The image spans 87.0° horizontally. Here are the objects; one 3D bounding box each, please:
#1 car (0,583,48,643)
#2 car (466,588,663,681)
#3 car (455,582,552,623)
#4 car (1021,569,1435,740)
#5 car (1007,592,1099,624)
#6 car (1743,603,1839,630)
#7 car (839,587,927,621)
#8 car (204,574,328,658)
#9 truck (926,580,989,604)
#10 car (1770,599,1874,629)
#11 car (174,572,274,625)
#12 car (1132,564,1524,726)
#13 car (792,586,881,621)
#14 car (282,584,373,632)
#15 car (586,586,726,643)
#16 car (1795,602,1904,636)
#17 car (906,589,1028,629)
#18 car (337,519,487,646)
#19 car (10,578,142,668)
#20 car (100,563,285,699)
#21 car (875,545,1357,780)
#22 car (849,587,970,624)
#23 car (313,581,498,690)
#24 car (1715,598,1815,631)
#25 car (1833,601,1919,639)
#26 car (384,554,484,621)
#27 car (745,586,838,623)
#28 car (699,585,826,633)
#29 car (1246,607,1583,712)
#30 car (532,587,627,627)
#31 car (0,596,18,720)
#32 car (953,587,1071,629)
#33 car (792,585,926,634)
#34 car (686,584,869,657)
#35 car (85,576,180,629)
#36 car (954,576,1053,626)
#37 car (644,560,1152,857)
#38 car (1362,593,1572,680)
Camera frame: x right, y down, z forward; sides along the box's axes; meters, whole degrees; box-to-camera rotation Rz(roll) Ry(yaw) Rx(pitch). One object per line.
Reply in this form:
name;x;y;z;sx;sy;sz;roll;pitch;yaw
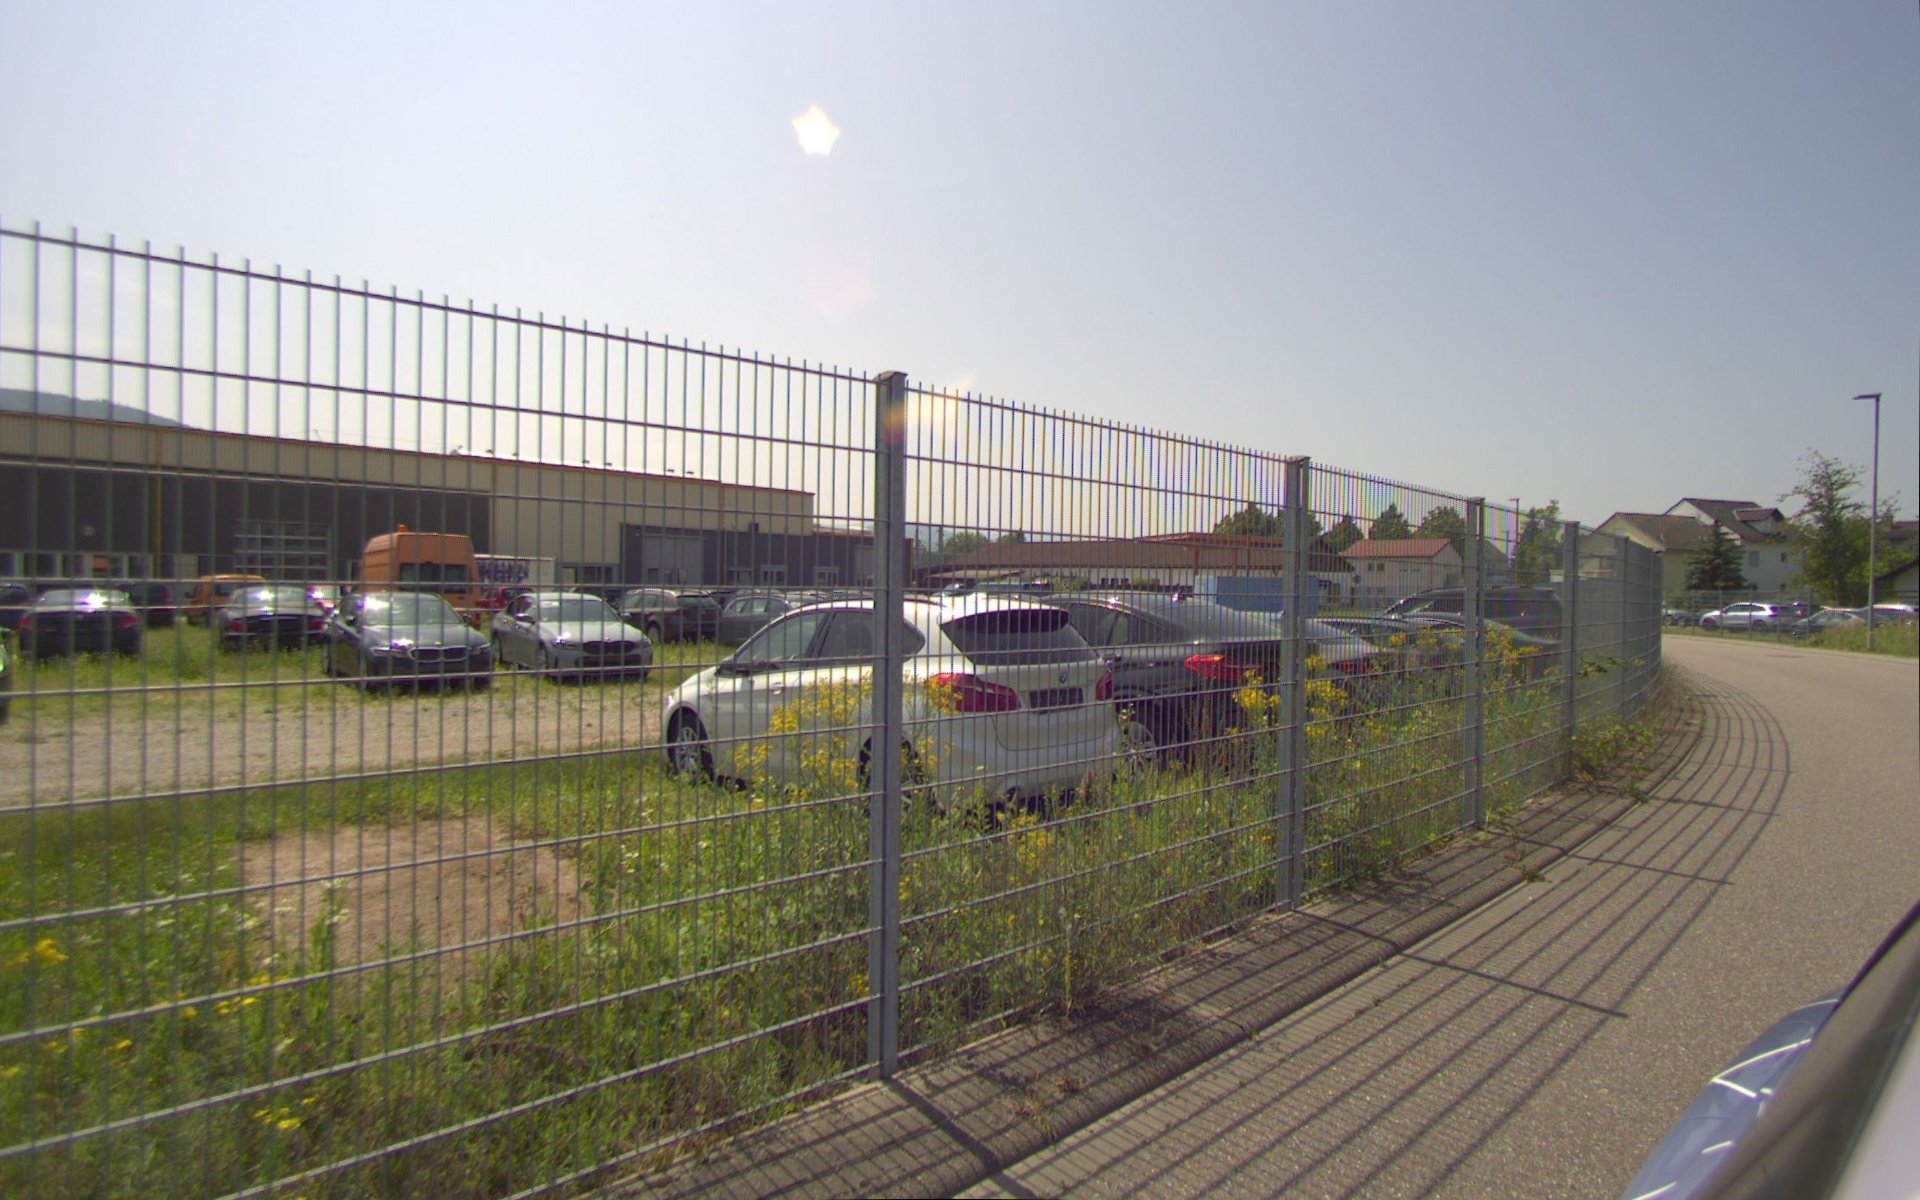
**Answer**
car;-27.038;0.326;28.578;1.724;1.504;4.379;1;1;-44
car;-7.311;0.540;18.407;1.790;1.368;4.752;1;1;-42
car;-17.159;0.073;37.958;1.941;1.339;4.379;1;1;-44
car;2.954;0.483;11.974;1.766;1.602;4.475;1;1;-43
car;3.616;0.307;39.673;1.643;1.122;3.369;1;1;-42
car;43.356;0.852;52.873;1.549;1.262;3.654;1;1;-13
car;-3.651;0.160;47.268;1.810;1.395;4.382;1;1;-42
car;-14.033;0.256;20.381;1.561;1.480;3.823;1;1;-42
truck;-0.137;-0.624;79.283;4.716;1.820;2.058;1;1;-40
car;48.319;0.763;56.846;1.958;1.517;4.009;1;1;-13
car;-23.461;-0.078;32.193;1.941;1.504;4.379;1;1;-44
car;4.831;0.468;13.626;4.670;1.791;1.721;2;1;35
car;-5.620;0.129;45.699;1.810;1.395;4.382;1;1;-42
car;-20.970;0.231;33.475;1.810;1.395;4.382;1;1;-42
car;-7.991;0.328;26.360;1.790;1.285;4.382;1;1;-42
car;40.511;0.842;46.191;1.549;1.437;3.469;1;1;-13
car;0.198;0.288;35.525;1.810;1.221;4.382;1;1;-42
car;-12.665;-0.423;23.229;1.946;2.617;4.738;1;1;-42
car;-16.676;0.365;19.107;1.726;1.480;3.823;1;1;-42
car;-11.662;0.334;15.290;1.965;1.739;3.995;-2;3;-40
car;1.187;0.391;9.543;1.692;1.690;4.479;1;1;-40
car;-1.730;0.167;33.380;1.591;1.046;4.382;1;1;-42
car;-9.109;0.474;16.424;1.634;1.450;4.568;1;1;-42
car;39.557;0.692;49.838;1.549;1.508;3.654;1;1;-13
car;35.976;0.751;38.812;1.555;1.351;4.395;1;1;7
car;-18.630;-0.481;35.750;1.941;2.199;4.379;1;1;-44
car;-7.191;0.186;42.938;1.810;1.395;4.382;1;1;-42
car;-5.762;0.212;29.136;1.550;1.198;4.382;1;1;-42
car;6.890;0.824;15.663;4.460;1.399;1.697;-1;-1;42
car;-15.320;0.258;40.641;1.941;1.403;4.379;1;1;-44
car;-12.768;0.651;12.486;1.584;1.318;3.767;1;1;-42
car;1.874;0.263;37.694;1.810;1.362;4.382;1;1;-42
car;-3.146;0.254;30.954;1.846;1.291;4.382;1;1;-42
car;-4.185;0.397;22.655;1.790;1.368;4.752;1;1;-42
car;-25.069;0.022;30.602;1.967;1.482;3.991;0;1;-43
car;1.869;0.008;44.753;1.810;2.006;4.382;1;1;-42
car;-0.718;0.567;7.875;1.694;1.690;4.126;1;1;-43
car;9.681;0.639;19.383;3.450;1.435;1.499;2;1;32
